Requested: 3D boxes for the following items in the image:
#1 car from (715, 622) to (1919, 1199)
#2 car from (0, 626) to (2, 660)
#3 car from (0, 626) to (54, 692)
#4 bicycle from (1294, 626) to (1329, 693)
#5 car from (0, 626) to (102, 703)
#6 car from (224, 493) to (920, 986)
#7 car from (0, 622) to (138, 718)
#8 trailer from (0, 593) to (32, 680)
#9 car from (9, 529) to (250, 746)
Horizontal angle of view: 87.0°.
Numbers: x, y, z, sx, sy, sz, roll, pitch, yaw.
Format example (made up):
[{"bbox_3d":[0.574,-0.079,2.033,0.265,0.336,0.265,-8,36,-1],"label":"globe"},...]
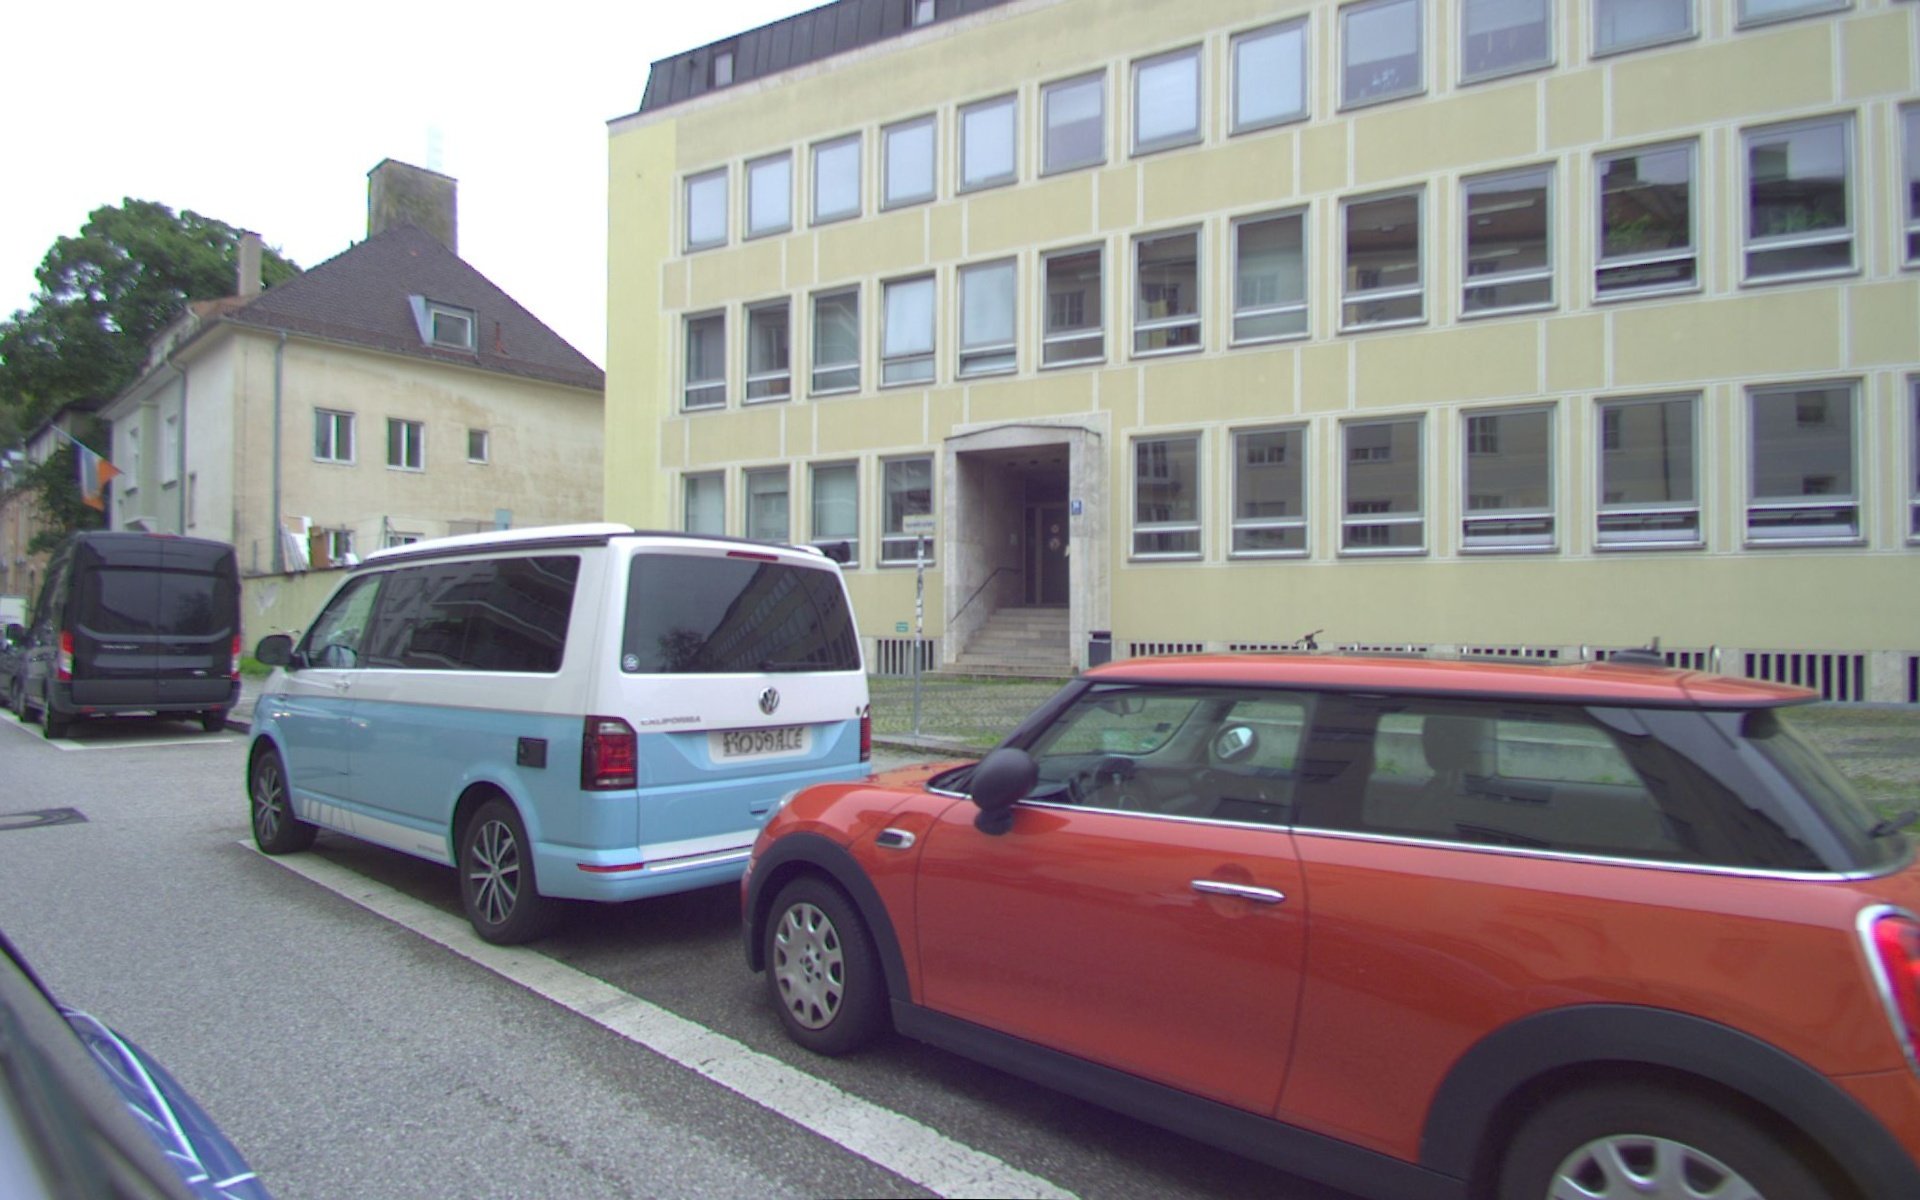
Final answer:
[{"bbox_3d":[1.004,0.799,3.236,3.650,1.383,1.635,-2,-4,40],"label":"car"},{"bbox_3d":[-32.727,1.612,33.056,3.919,1.615,1.669,0,-3,41],"label":"car"},{"bbox_3d":[-24.529,1.458,25.804,4.542,1.550,1.746,-1,-3,44],"label":"car"},{"bbox_3d":[5.487,0.908,15.771,0.364,0.962,1.519,-1,-1,25],"label":"bicycle"},{"bbox_3d":[-19.666,1.307,21.378,3.820,1.457,1.684,-2,-1,39],"label":"car"},{"bbox_3d":[-2.594,0.633,6.184,4.595,1.946,1.864,-2,-4,38],"label":"car"},{"bbox_3d":[-16.349,1.187,18.157,3.535,1.550,1.572,-1,-1,35],"label":"car"},{"bbox_3d":[-28.973,1.065,30.098,4.387,2.480,1.690,-2,-4,44],"label":"trailer"},{"bbox_3d":[-12.432,0.541,14.998,5.376,2.656,2.065,-2,-2,43],"label":"car"}]
